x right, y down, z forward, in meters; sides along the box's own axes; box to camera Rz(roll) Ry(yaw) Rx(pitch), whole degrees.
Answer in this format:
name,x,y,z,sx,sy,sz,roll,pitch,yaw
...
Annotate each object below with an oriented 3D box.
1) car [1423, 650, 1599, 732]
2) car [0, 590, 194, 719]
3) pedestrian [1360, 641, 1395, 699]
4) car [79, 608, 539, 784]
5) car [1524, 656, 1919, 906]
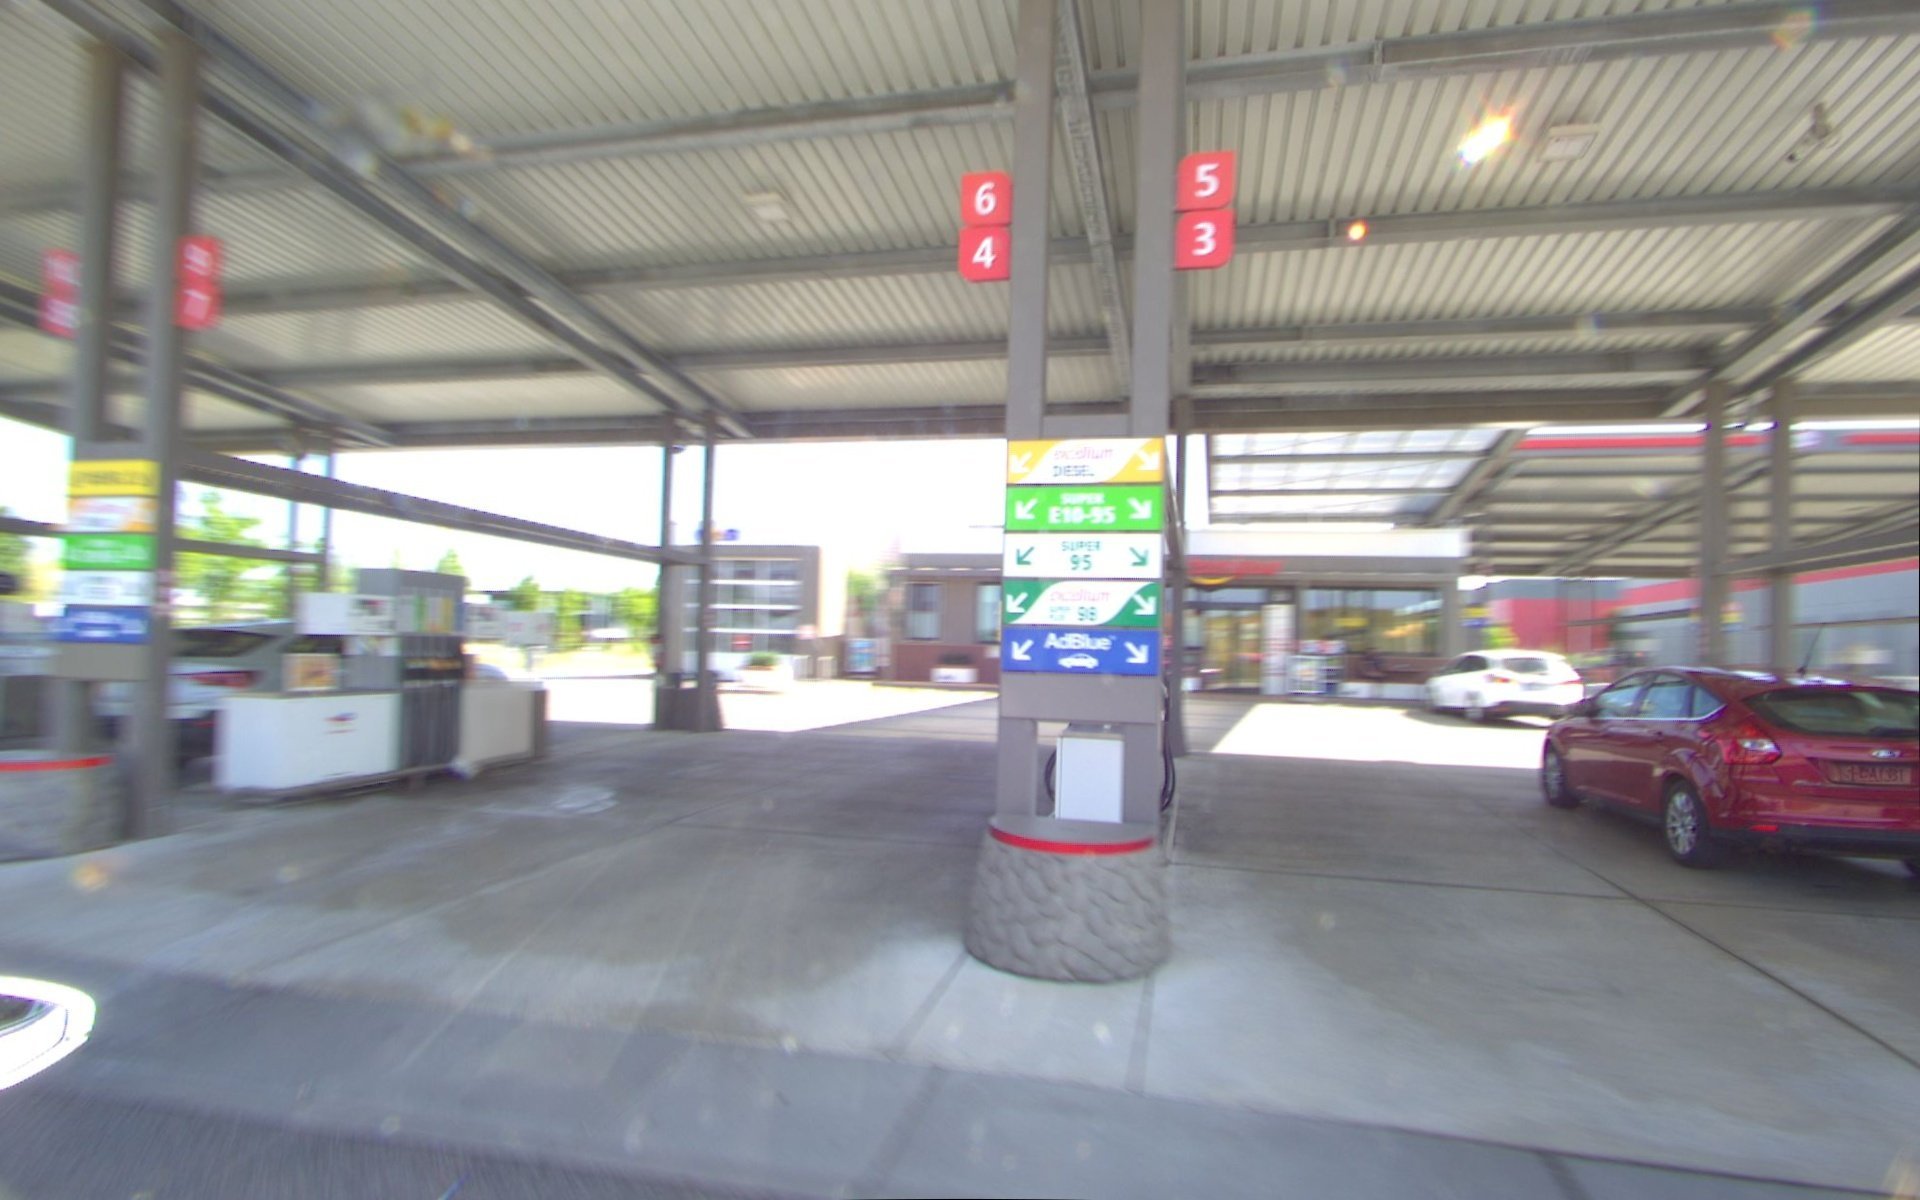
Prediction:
name,x,y,z,sx,sy,sz,roll,pitch,yaw
car,11.419,1.826,21.112,1.800,1.475,4.322,1,-2,8
car,-13.576,0.730,13.951,1.830,1.709,4.536,1,-2,10
pedestrian,10.720,1.779,25.710,0.690,1.450,0.672,1,-1,13
car,-6.972,0.968,11.390,1.753,1.560,4.324,1,-2,14
car,6.326,1.264,8.382,1.672,1.487,4.231,1,-2,13
